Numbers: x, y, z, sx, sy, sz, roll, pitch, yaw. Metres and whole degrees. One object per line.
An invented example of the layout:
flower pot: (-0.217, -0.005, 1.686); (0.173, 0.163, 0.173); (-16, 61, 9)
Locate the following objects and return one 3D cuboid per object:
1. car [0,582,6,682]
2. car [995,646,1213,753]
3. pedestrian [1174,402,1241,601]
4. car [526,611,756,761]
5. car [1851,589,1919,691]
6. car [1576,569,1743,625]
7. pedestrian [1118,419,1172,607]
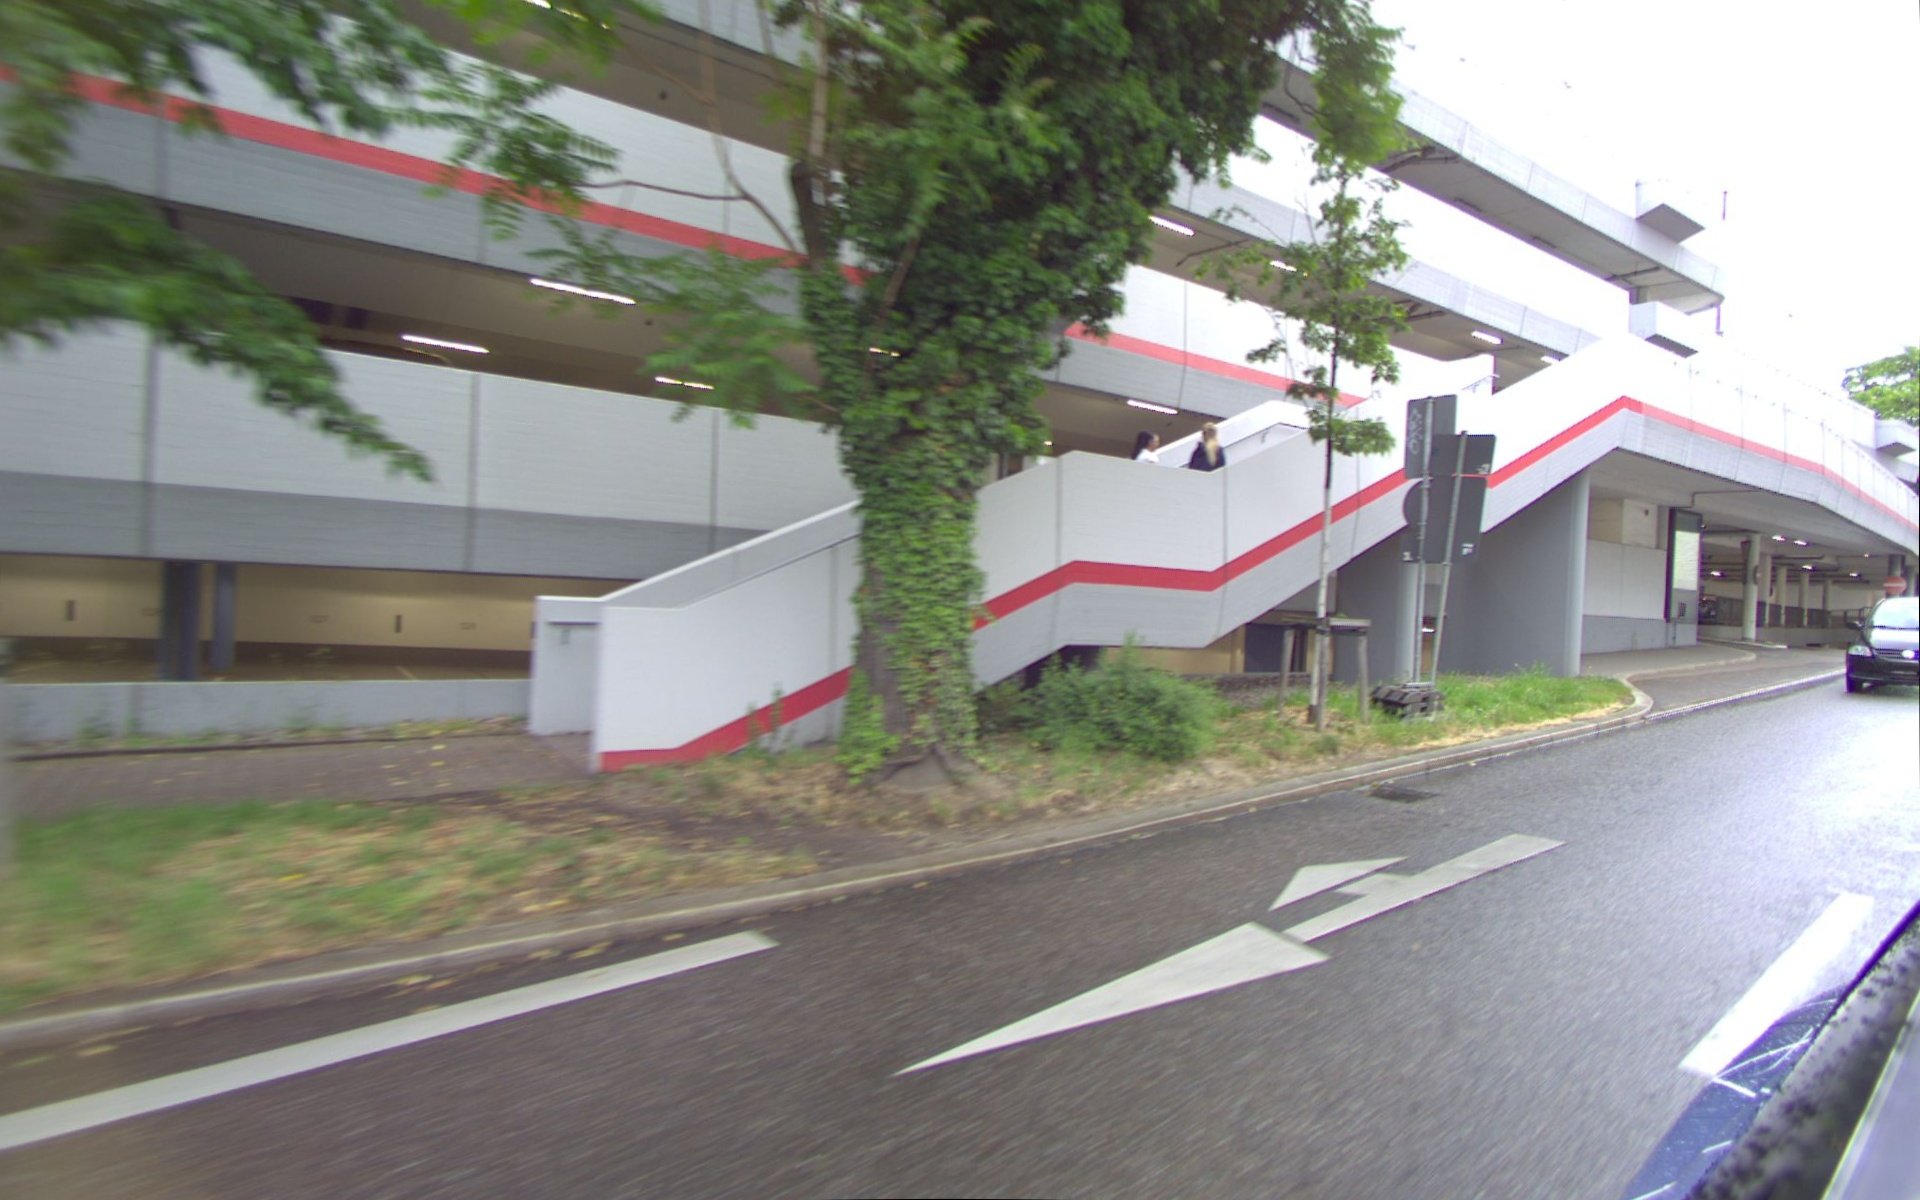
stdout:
car: (-17.238, 0.618, 16.239); (1.779, 1.805, 4.006); (1, 1, -28)
car: (2.583, 1.779, 18.974); (1.803, 1.560, 3.943); (4, -1, -35)
pedestrian: (2.796, -1.087, 11.438); (0.484, 2.181, 0.515); (0, 1, -36)
car: (-4.314, 1.031, 13.324); (1.775, 1.560, 3.746); (4, -1, -35)
car: (16.126, 0.633, 16.657); (3.919, 1.545, 1.682); (1, -1, -41)
car: (24.059, -0.135, 34.958); (1.960, 1.682, 4.261); (5, -2, -31)
pedestrian: (2.194, -1.012, 12.027); (0.426, 2.181, 0.422); (0, 1, -36)
